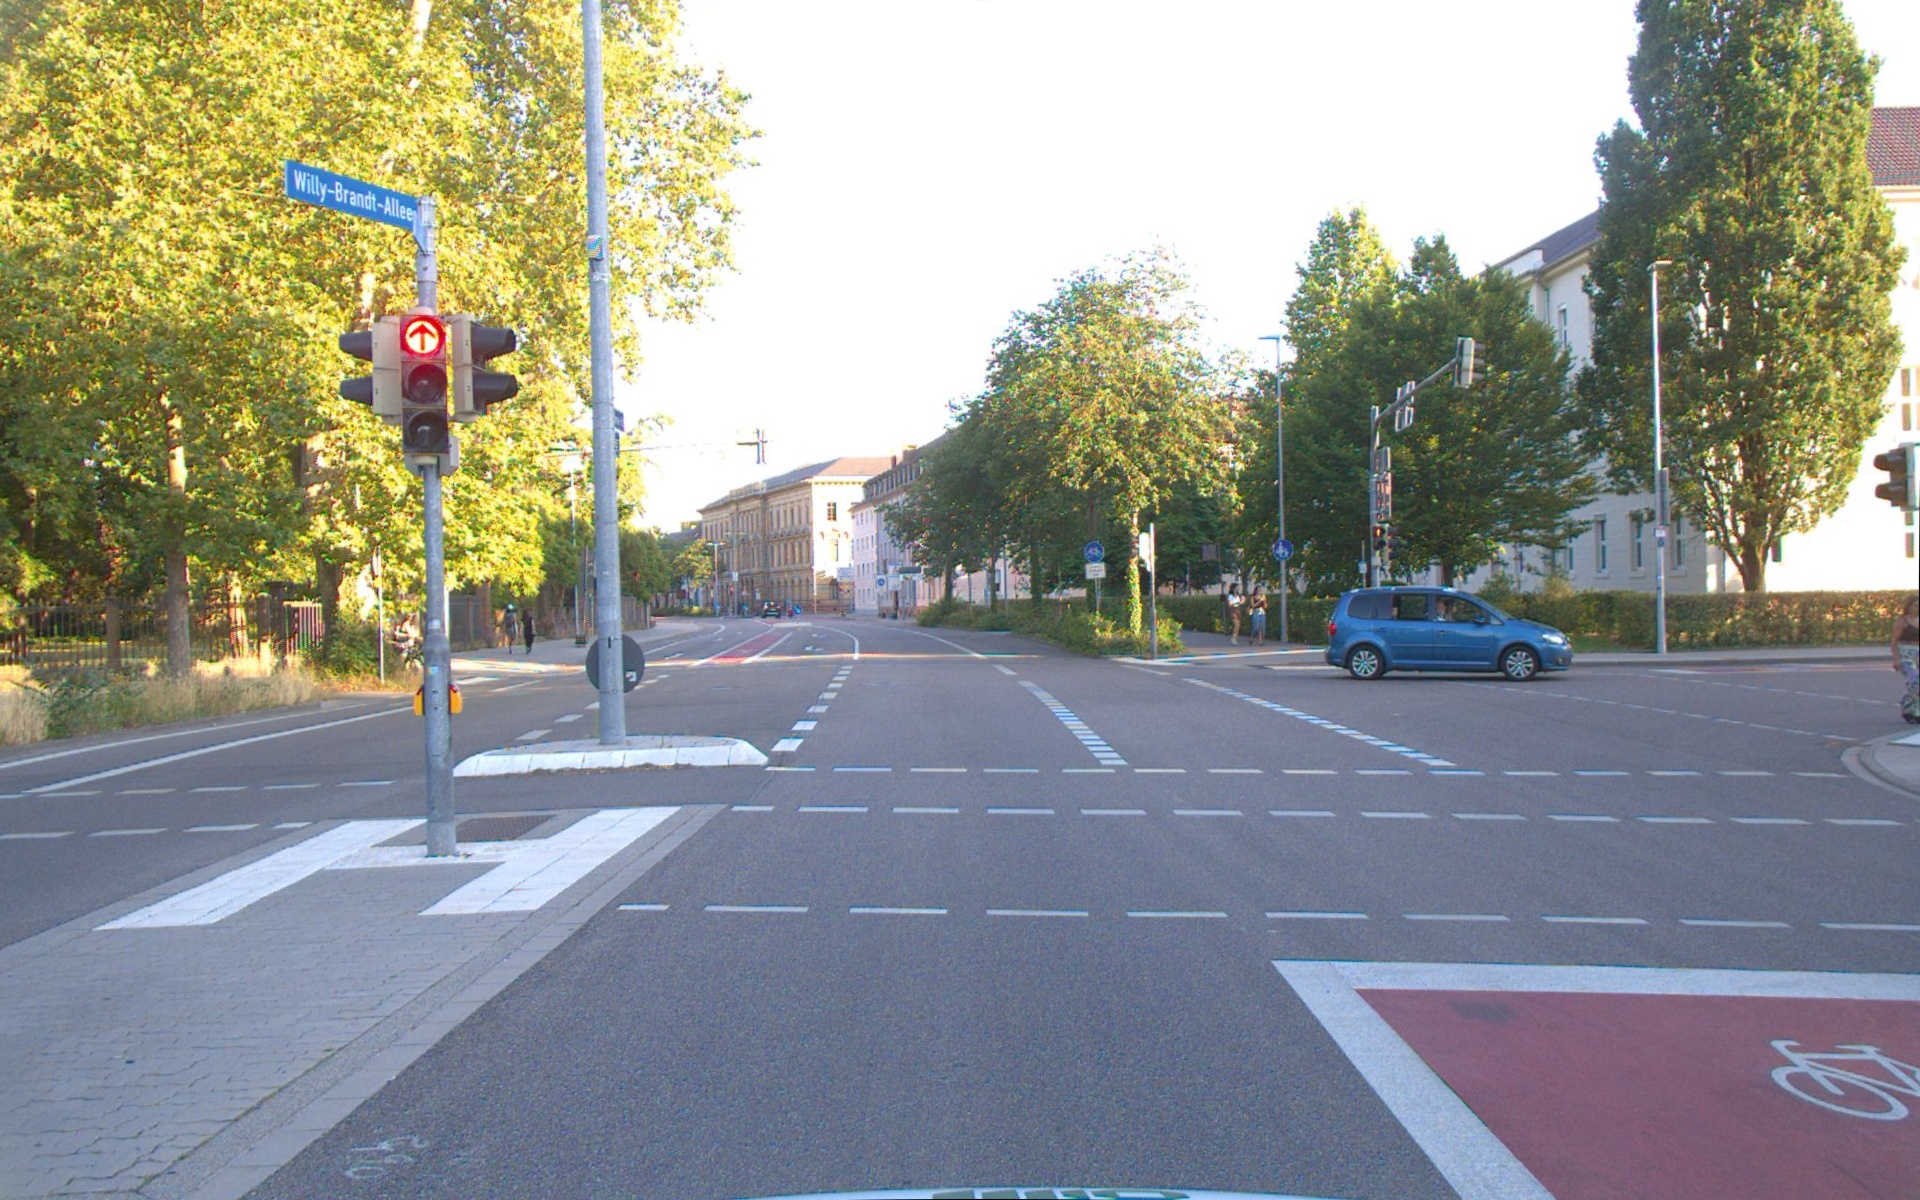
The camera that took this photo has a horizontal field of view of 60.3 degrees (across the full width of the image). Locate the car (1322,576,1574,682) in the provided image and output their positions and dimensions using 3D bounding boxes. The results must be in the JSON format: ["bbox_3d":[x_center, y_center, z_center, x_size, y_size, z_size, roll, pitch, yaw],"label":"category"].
[{"bbox_3d":[8.793,0.513,29.777,4.193,1.750,1.856,-1,2,21],"label":"car"}]

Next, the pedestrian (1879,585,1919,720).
[{"bbox_3d":[12.062,0.651,20.828,0.587,1.664,0.691,0,0,1],"label":"pedestrian"}]

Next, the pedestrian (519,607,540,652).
[{"bbox_3d":[-15.473,1.056,59.444,0.587,1.601,0.646,-1,0,-1],"label":"pedestrian"}]

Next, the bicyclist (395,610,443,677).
[{"bbox_3d":[-13.707,1.101,41.908,0.938,1.659,0.752,-1,0,0],"label":"bicyclist"}]

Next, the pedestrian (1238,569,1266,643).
[{"bbox_3d":[8.200,0.166,46.490,0.622,2.049,0.720,0,0,-5],"label":"pedestrian"}]

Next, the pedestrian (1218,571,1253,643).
[{"bbox_3d":[7.900,0.201,47.496,0.852,2.049,0.722,0,0,-1],"label":"pedestrian"}]

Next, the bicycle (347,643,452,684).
[{"bbox_3d":[-14.187,1.612,41.902,2.380,0.940,0.775,-1,0,0],"label":"bicycle"}]

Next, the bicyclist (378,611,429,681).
[{"bbox_3d":[-13.477,1.101,40.064,0.938,1.659,0.752,-1,0,0],"label":"bicyclist"}]

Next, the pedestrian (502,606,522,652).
[{"bbox_3d":[-16.094,1.052,59.443,0.524,1.624,0.590,-1,0,-1],"label":"pedestrian"}]

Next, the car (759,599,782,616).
[{"bbox_3d":[-19.445,0.765,169.421,1.789,1.616,3.984,-2,0,-15],"label":"car"}]

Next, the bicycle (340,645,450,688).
[{"bbox_3d":[-13.672,1.603,40.047,2.380,0.940,0.775,-1,0,0],"label":"bicycle"}]
